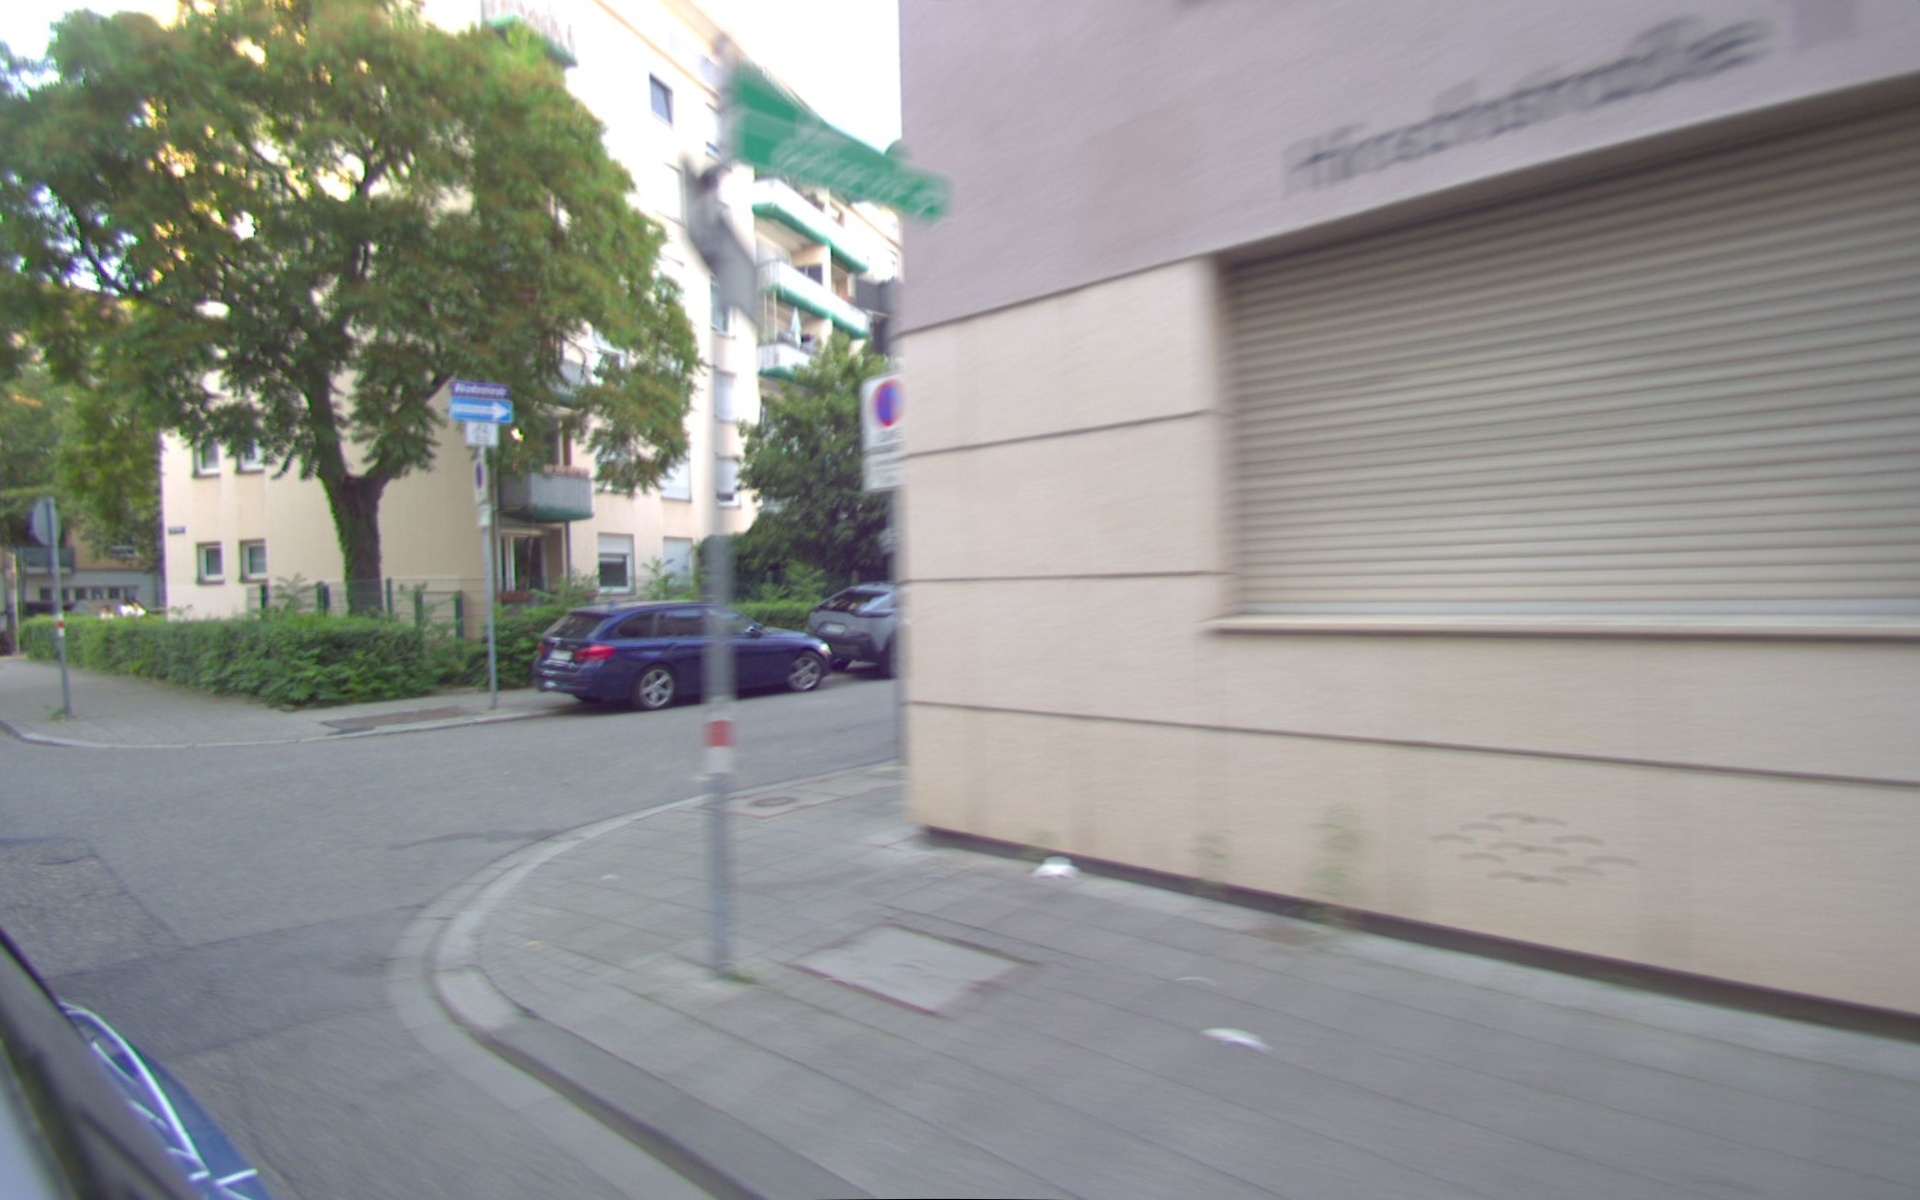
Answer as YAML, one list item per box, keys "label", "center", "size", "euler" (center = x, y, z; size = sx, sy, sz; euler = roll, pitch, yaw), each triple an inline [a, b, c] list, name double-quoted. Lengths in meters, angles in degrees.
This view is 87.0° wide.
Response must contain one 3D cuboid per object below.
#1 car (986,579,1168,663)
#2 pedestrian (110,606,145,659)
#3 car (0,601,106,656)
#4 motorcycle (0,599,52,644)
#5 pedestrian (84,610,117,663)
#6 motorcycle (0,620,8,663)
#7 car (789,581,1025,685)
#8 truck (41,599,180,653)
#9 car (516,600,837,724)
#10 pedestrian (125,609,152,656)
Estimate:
- label: "car"
  center: [2.712, 0.407, 22.675]
  size: [1.828, 1.652, 4.323]
  euler: [-2, 0, 43]
- label: "pedestrian"
  center: [-28.810, 1.111, 35.018]
  size: [0.694, 1.801, 0.660]
  euler: [-2, 0, 23]
- label: "car"
  center: [-40.263, 1.200, 44.554]
  size: [4.599, 2.149, 2.024]
  euler: [2, 1, 19]
- label: "motorcycle"
  center: [-32.710, 0.746, 35.216]
  size: [2.208, 1.505, 0.686]
  euler: [-2, 0, 21]
- label: "pedestrian"
  center: [-29.691, 1.261, 34.962]
  size: [0.687, 1.801, 0.531]
  euler: [-2, 0, -21]
- label: "motorcycle"
  center: [-31.986, 1.360, 33.364]
  size: [0.712, 1.384, 2.228]
  euler: [-2, 0, -40]
- label: "car"
  center: [-0.873, 0.538, 18.911]
  size: [1.828, 1.652, 4.323]
  euler: [-2, 0, 43]
- label: "truck"
  center: [-39.622, 1.161, 47.189]
  size: [5.977, 2.149, 2.247]
  euler: [2, 1, 19]
- label: "car"
  center: [-3.952, 0.782, 14.729]
  size: [1.685, 1.469, 4.301]
  euler: [-1, 0, 40]
- label: "pedestrian"
  center: [-28.061, 1.103, 34.548]
  size: [0.657, 1.583, 0.445]
  euler: [-1, 0, 24]
